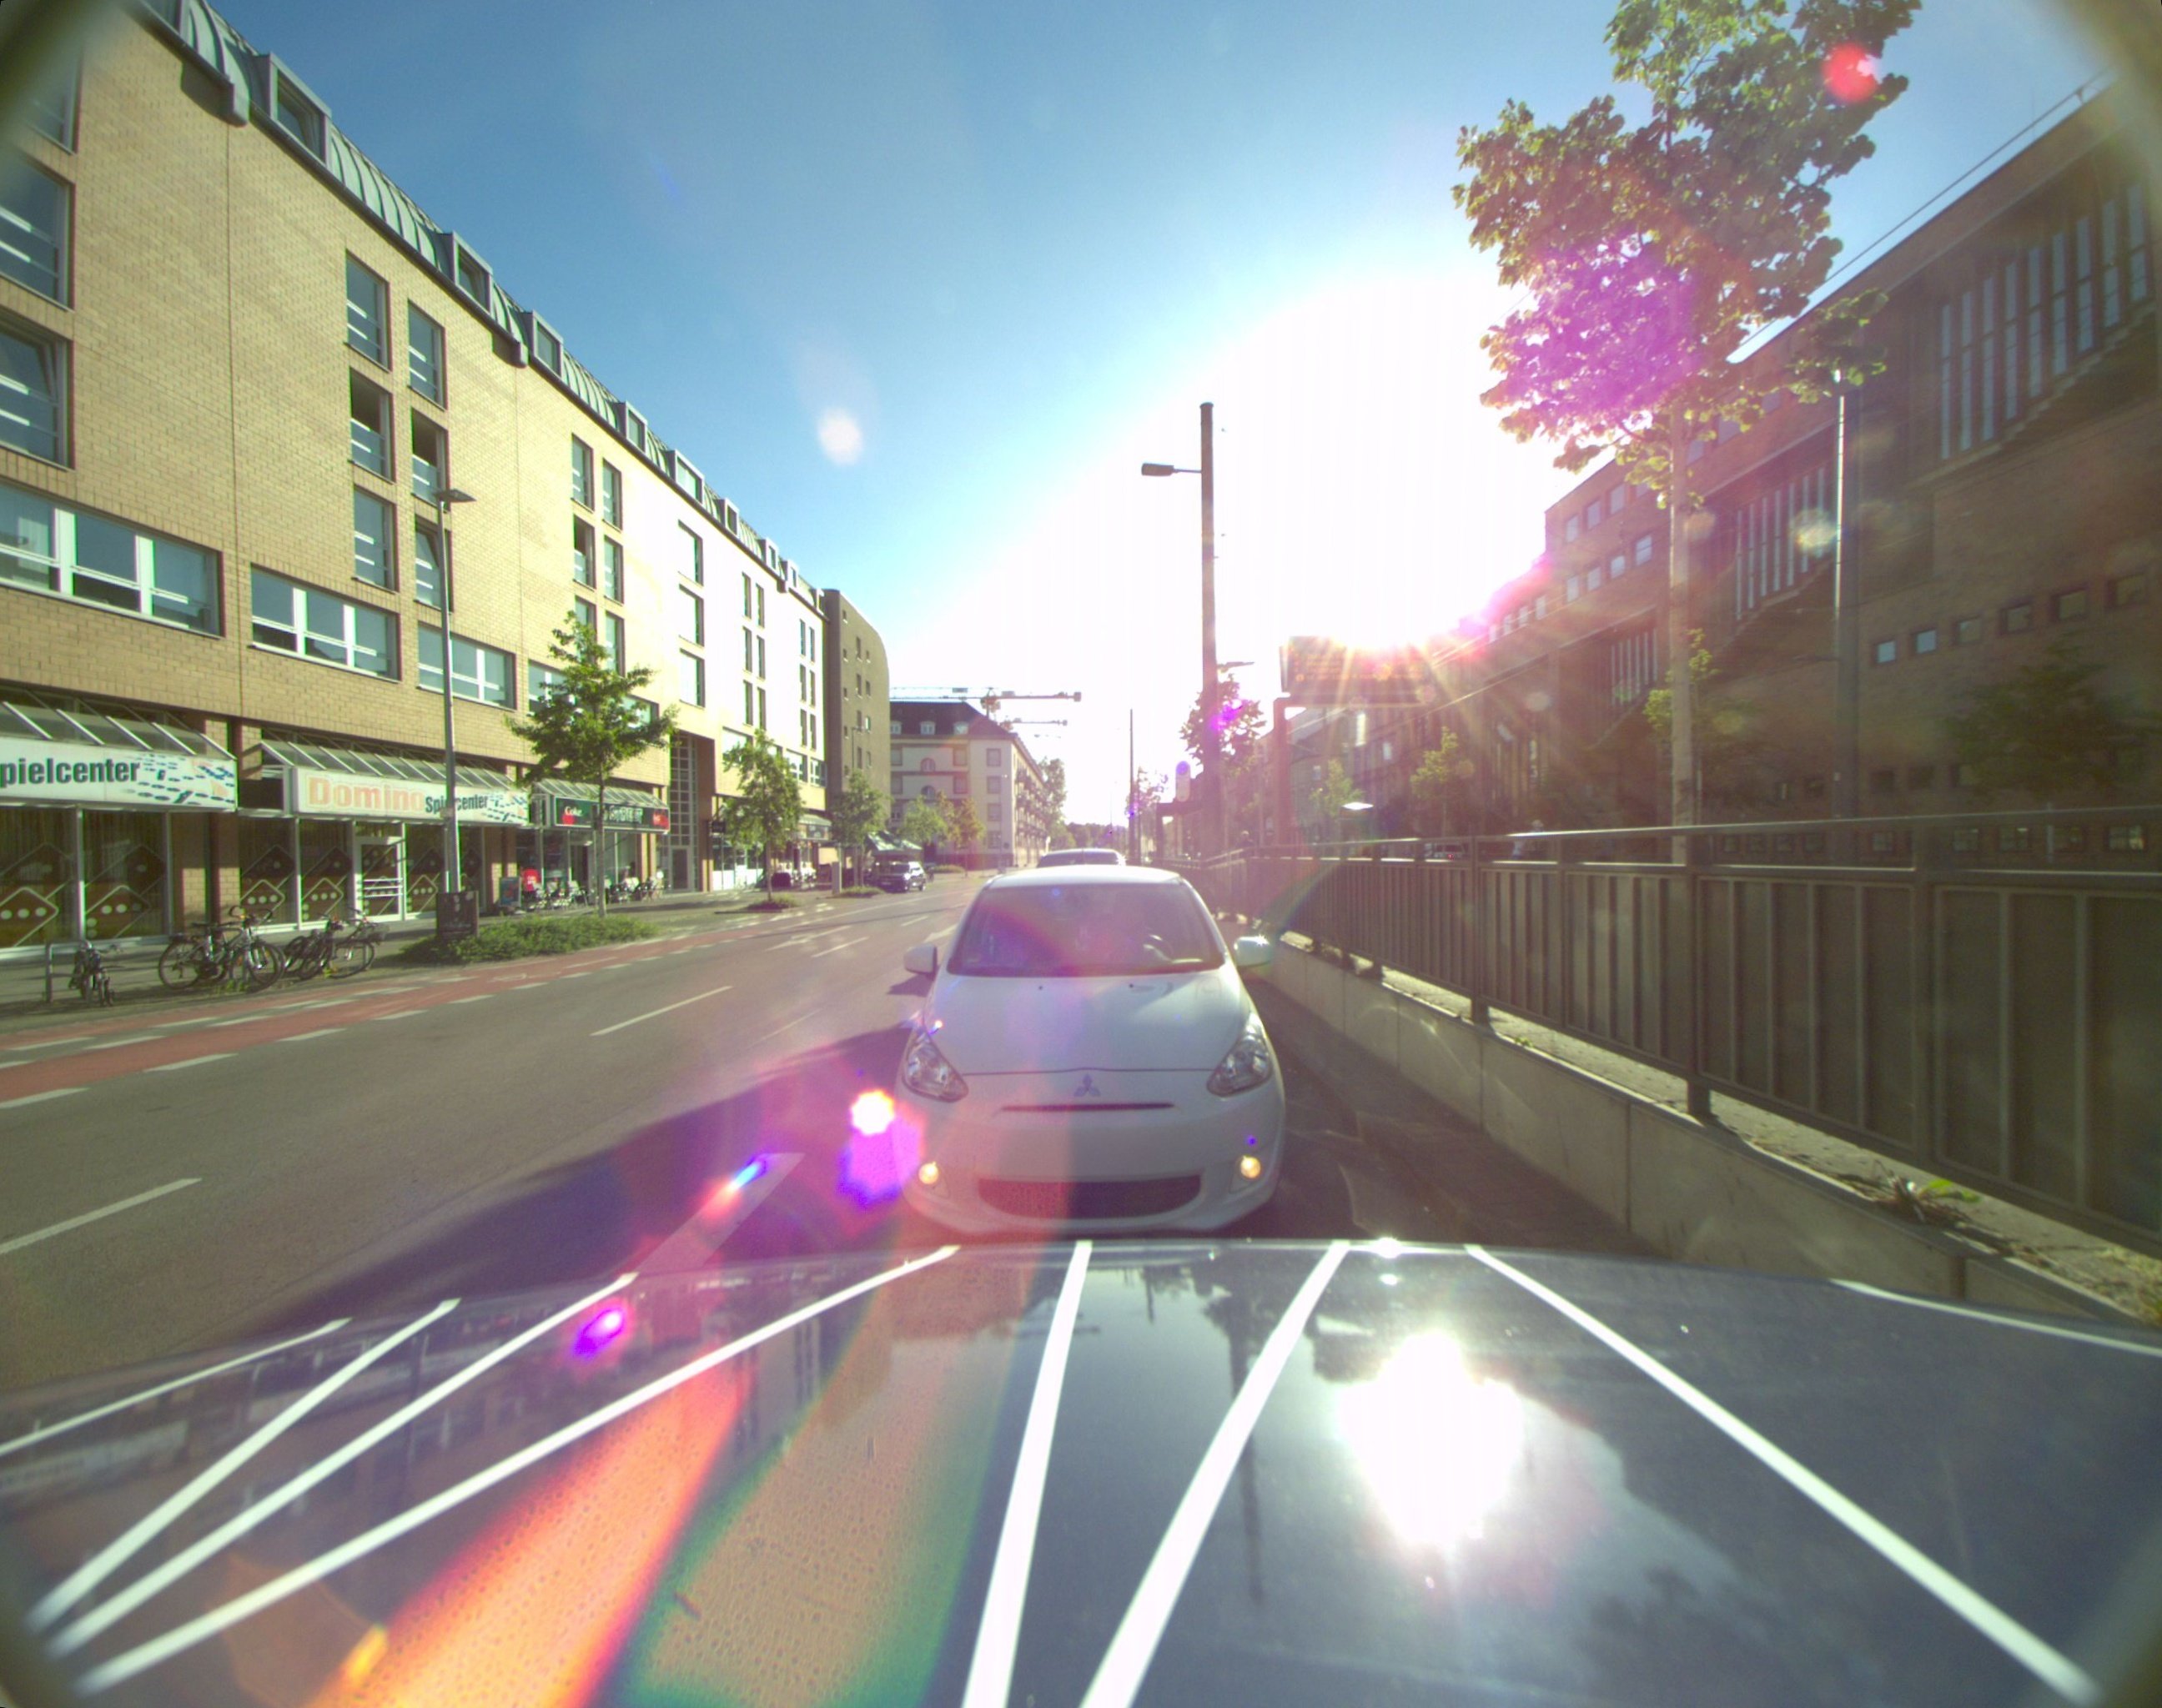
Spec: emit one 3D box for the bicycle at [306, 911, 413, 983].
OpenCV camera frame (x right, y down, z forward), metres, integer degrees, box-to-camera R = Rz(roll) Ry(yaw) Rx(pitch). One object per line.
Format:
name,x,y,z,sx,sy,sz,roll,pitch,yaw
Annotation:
bicycle,-11.869,1.514,12.497,1.835,1.050,0.350,1,2,15

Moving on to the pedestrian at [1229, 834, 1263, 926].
pedestrian,4.452,0.691,20.559,0.684,2.428,0.626,-2,2,-2

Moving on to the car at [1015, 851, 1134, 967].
car,-0.103,0.817,13.463,1.720,1.591,4.215,-2,1,0

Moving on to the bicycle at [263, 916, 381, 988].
bicycle,-12.016,1.530,12.026,1.835,0.980,0.449,1,2,15

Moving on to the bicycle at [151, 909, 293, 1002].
bicycle,-12.356,1.435,10.935,1.835,1.156,0.565,1,2,15

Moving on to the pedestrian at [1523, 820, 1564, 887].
pedestrian,12.634,-0.021,20.782,0.685,1.797,0.668,-2,2,0

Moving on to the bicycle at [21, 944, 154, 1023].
bicycle,-12.686,1.636,9.700,1.772,0.827,0.366,1,2,15

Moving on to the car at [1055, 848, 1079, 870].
car,-1.344,0.455,73.736,2.164,1.904,4.472,-2,0,0

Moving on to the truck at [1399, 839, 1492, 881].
truck,17.642,0.295,37.080,1.999,1.868,5.155,1,0,0

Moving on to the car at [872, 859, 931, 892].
car,-9.767,1.140,41.667,1.778,1.630,4.002,-1,0,9

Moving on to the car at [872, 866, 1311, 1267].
car,0.044,0.899,5.189,1.720,1.422,4.215,-2,1,0
